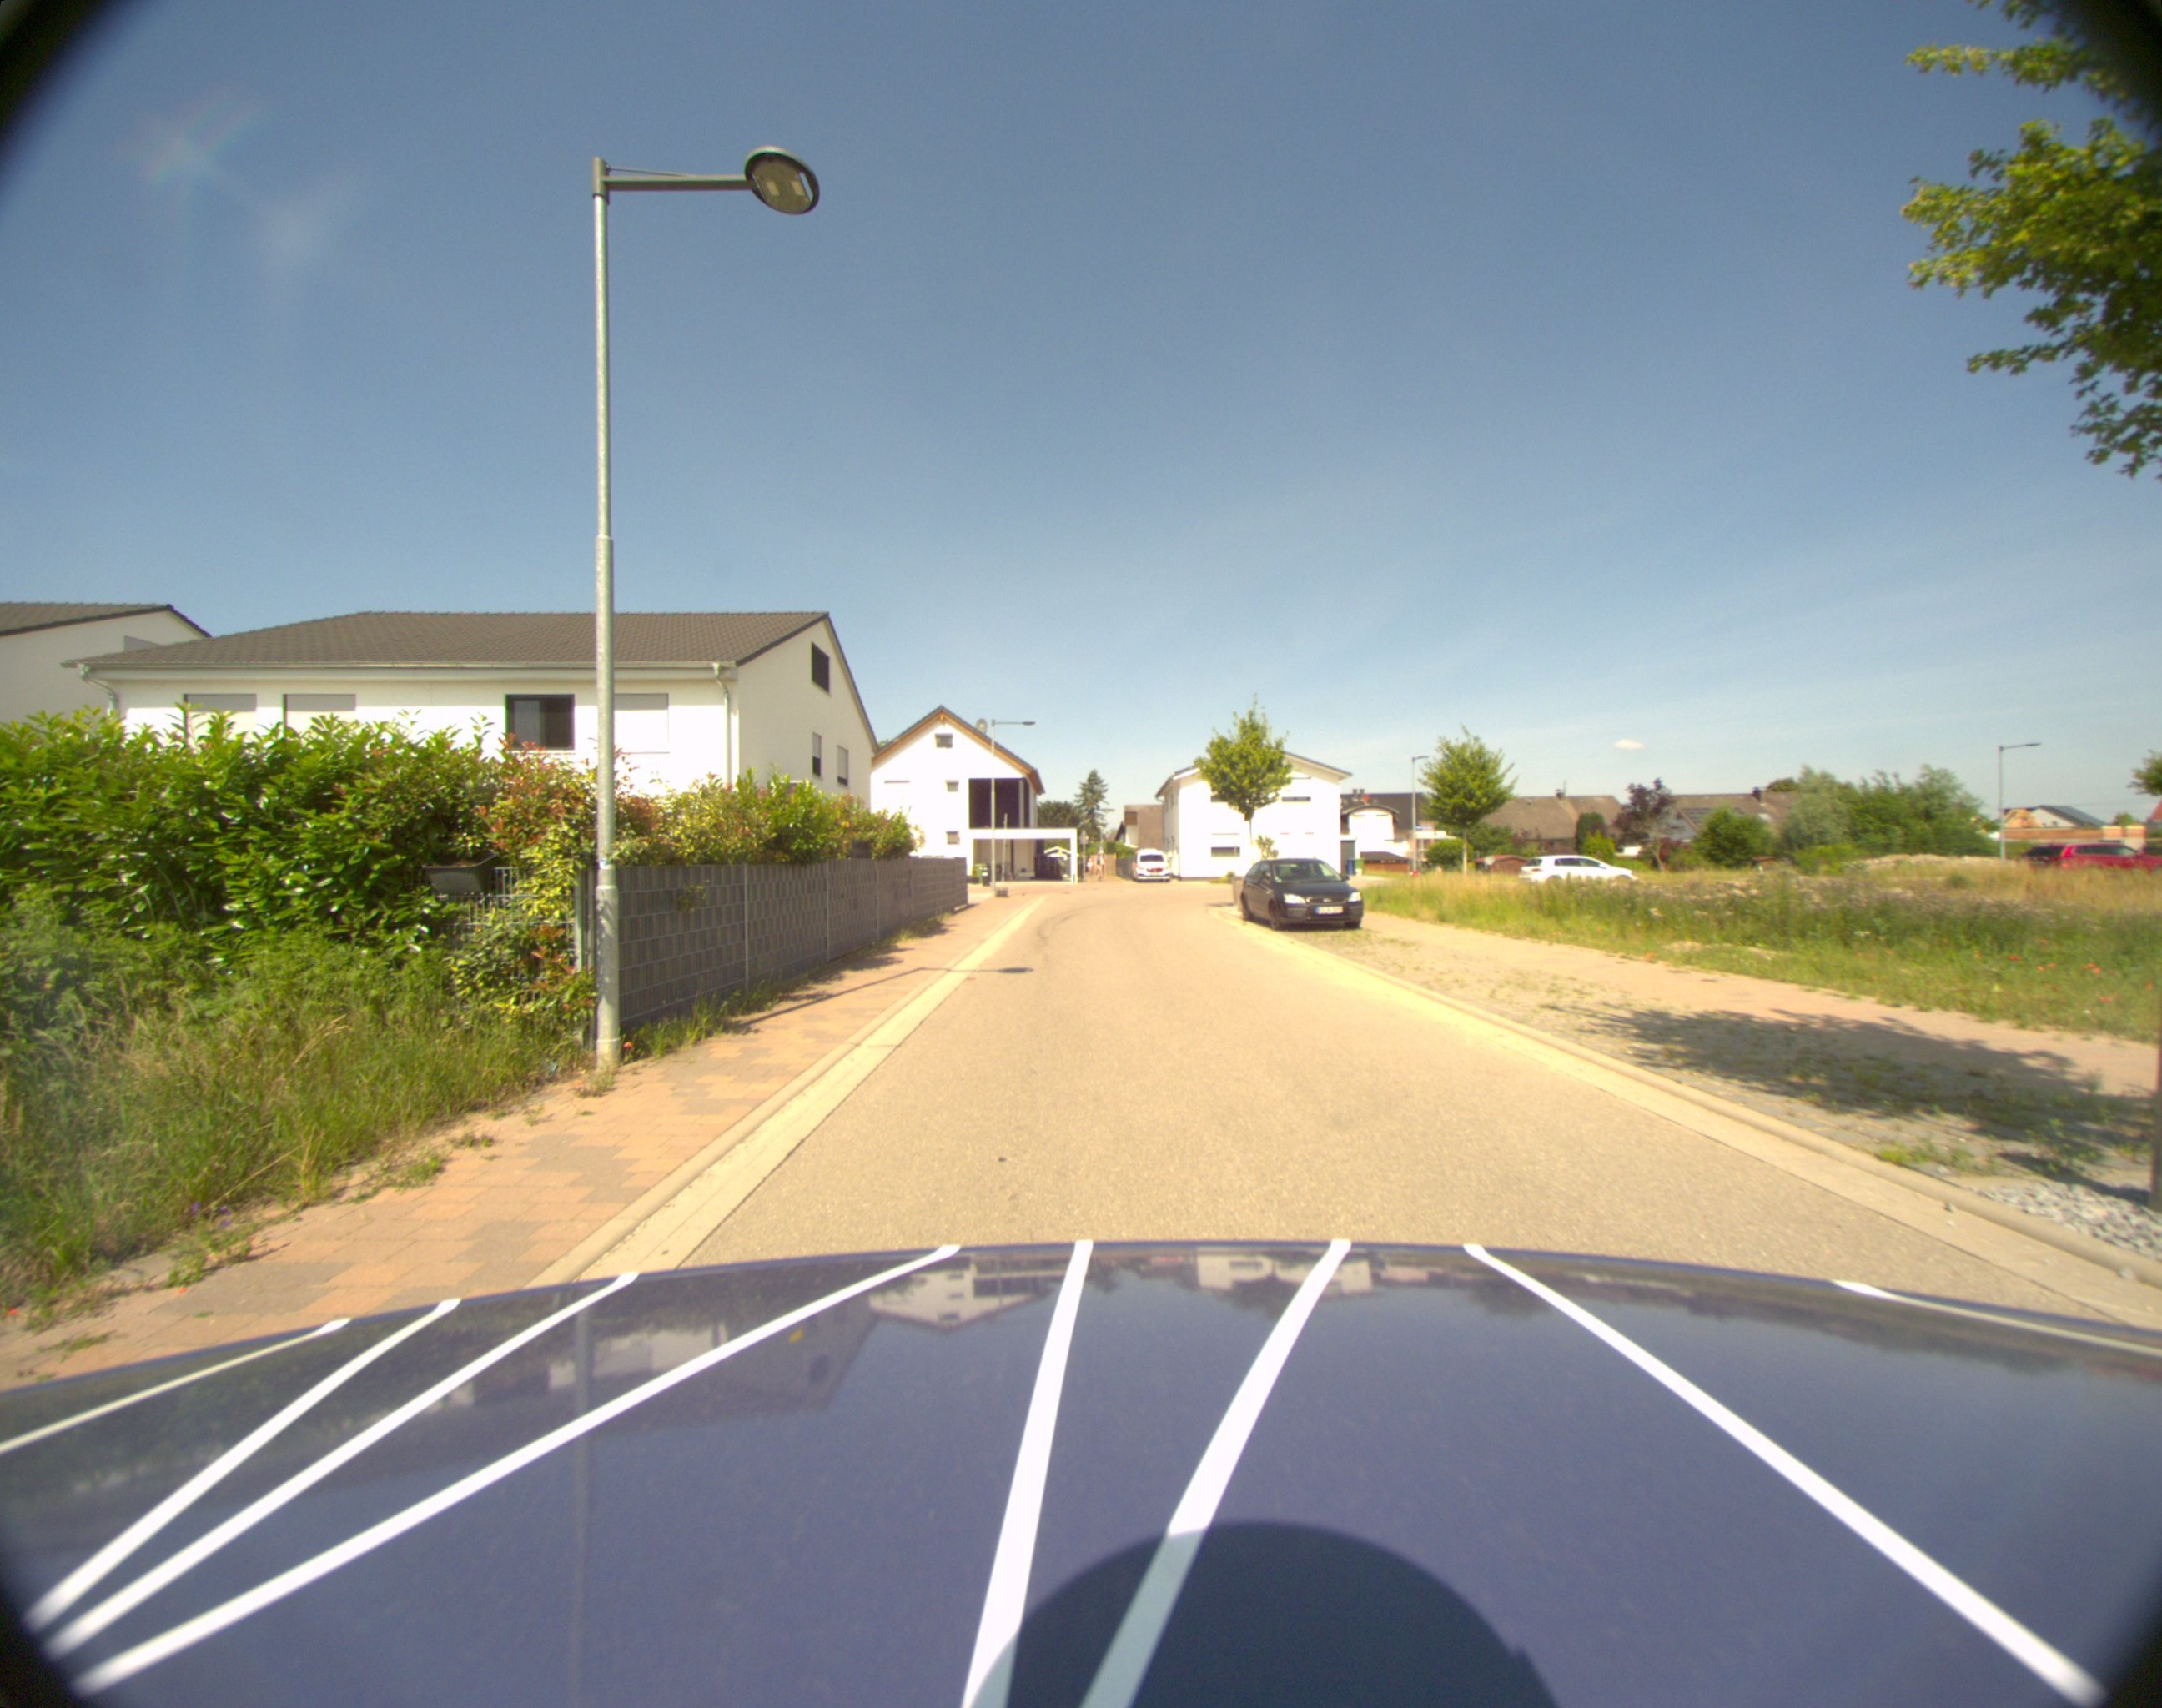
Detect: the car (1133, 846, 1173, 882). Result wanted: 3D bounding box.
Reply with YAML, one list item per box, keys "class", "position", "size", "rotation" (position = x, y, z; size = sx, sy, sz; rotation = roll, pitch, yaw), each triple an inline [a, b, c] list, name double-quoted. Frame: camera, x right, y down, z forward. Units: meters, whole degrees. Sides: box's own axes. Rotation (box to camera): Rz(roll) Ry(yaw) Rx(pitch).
- class: "car"
  position: [3.995, 0.539, 42.844]
  size: [1.856, 1.874, 4.559]
  rotation: [-2, 0, 1]

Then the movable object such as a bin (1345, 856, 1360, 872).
- class: "movable object such as a bin"
  position: [16.873, 0.608, 47.218]
  size: [0.685, 0.999, 0.741]
  rotation: [0, 0, 3]

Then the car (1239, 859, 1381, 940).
- class: "car"
  position: [4.748, 0.873, 16.414]
  size: [1.816, 1.445, 4.144]
  rotation: [-2, 0, 1]

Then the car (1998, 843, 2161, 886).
- class: "car"
  position: [39.399, 0.410, 30.054]
  size: [3.996, 1.606, 1.810]
  rotation: [0, 0, 2]

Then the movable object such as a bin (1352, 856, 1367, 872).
- class: "movable object such as a bin"
  position: [17.001, 0.612, 46.395]
  size: [0.685, 0.999, 0.741]
  rotation: [0, 0, 3]

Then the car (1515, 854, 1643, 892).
- class: "car"
  position: [20.232, 0.755, 31.028]
  size: [3.995, 1.494, 1.810]
  rotation: [0, 0, 6]

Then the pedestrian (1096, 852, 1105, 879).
- class: "pedestrian"
  position: [1.233, 0.733, 47.759]
  size: [0.550, 1.710, 0.820]
  rotation: [0, 0, 4]
